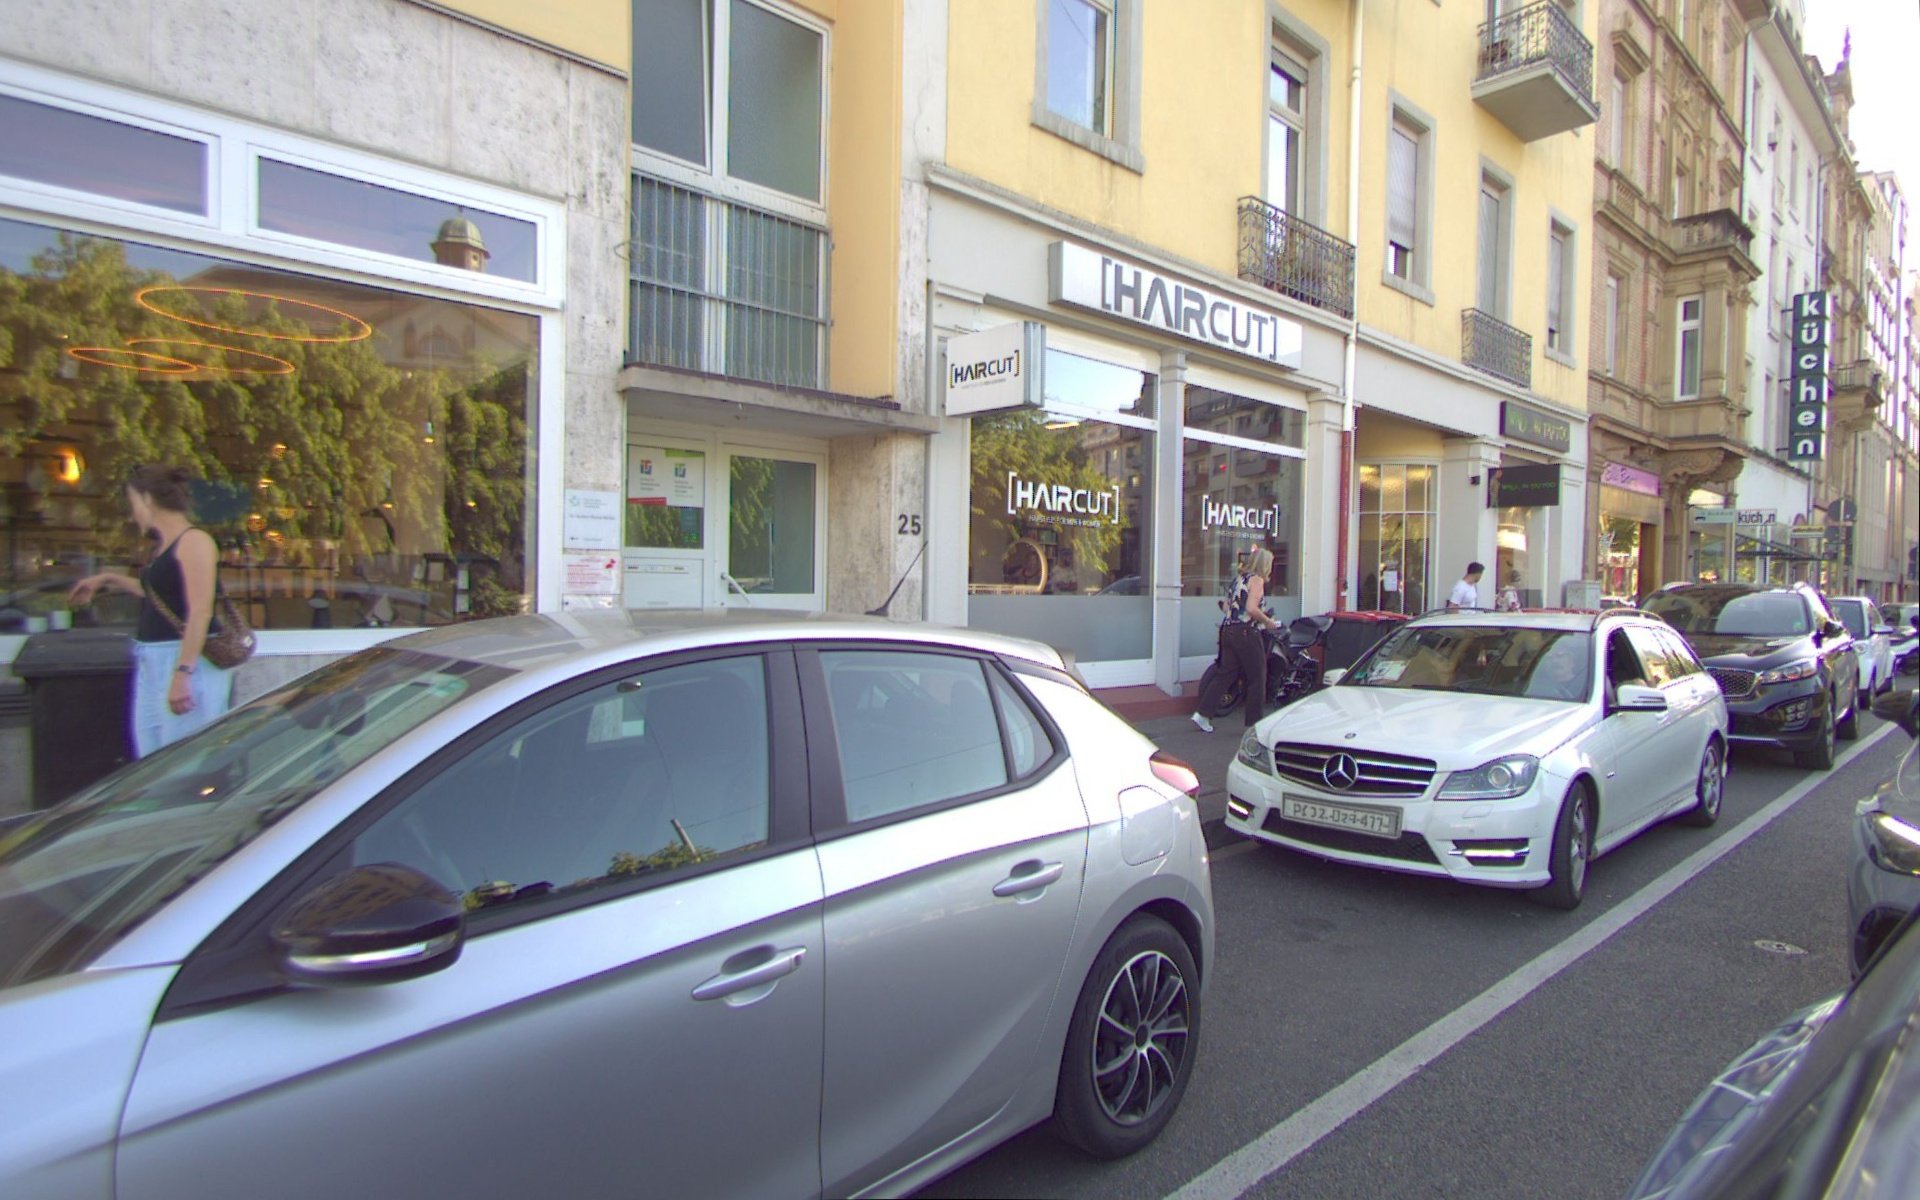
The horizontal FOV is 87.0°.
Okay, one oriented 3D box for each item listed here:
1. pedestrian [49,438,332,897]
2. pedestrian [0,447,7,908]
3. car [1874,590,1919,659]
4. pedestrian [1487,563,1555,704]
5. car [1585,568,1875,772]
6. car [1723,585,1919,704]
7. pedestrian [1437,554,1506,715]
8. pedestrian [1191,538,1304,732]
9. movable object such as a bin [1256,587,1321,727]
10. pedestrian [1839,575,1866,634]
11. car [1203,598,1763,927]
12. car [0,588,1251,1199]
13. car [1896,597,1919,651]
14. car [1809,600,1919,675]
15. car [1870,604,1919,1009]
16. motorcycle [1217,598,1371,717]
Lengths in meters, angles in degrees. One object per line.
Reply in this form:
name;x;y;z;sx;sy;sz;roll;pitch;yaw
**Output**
pedestrian;-3.036;0.246;4.052;0.635;1.686;0.659;0;0;-1
pedestrian;-4.166;0.303;3.796;0.563;1.806;0.735;1;0;30
car;22.193;0.514;23.065;4.016;1.450;1.657;-1;0;-42
pedestrian;7.695;0.437;13.879;0.652;1.874;0.575;0;0;-33
car;8.002;0.545;10.363;4.176;1.659;1.799;-1;1;-45
car;13.104;0.561;15.303;4.016;1.546;1.800;-1;0;-42
pedestrian;6.523;0.431;12.918;0.679;2.008;0.375;1;1;-18
pedestrian;2.609;0.284;9.199;0.595;1.674;0.719;0;3;-40
movable object such as a bin;3.062;0.516;9.435;0.387;1.253;0.391;0;3;-41
pedestrian;29.158;0.142;33.069;0.653;1.874;0.574;0;0;-40
car;3.534;0.698;6.433;4.302;1.376;1.703;-1;1;-41
car;-0.997;0.702;2.300;3.597;1.445;1.549;-1;1;-42
car;26.569;0.623;27.173;3.773;1.357;1.800;-1;1;-42
car;18.159;0.675;19.840;4.016;1.282;1.800;-1;1;-42
car;5.286;0.710;4.237;3.931;1.376;1.800;-1;1;-42
motorcycle;3.503;0.549;10.524;1.920;1.091;0.567;-1;4;-41
